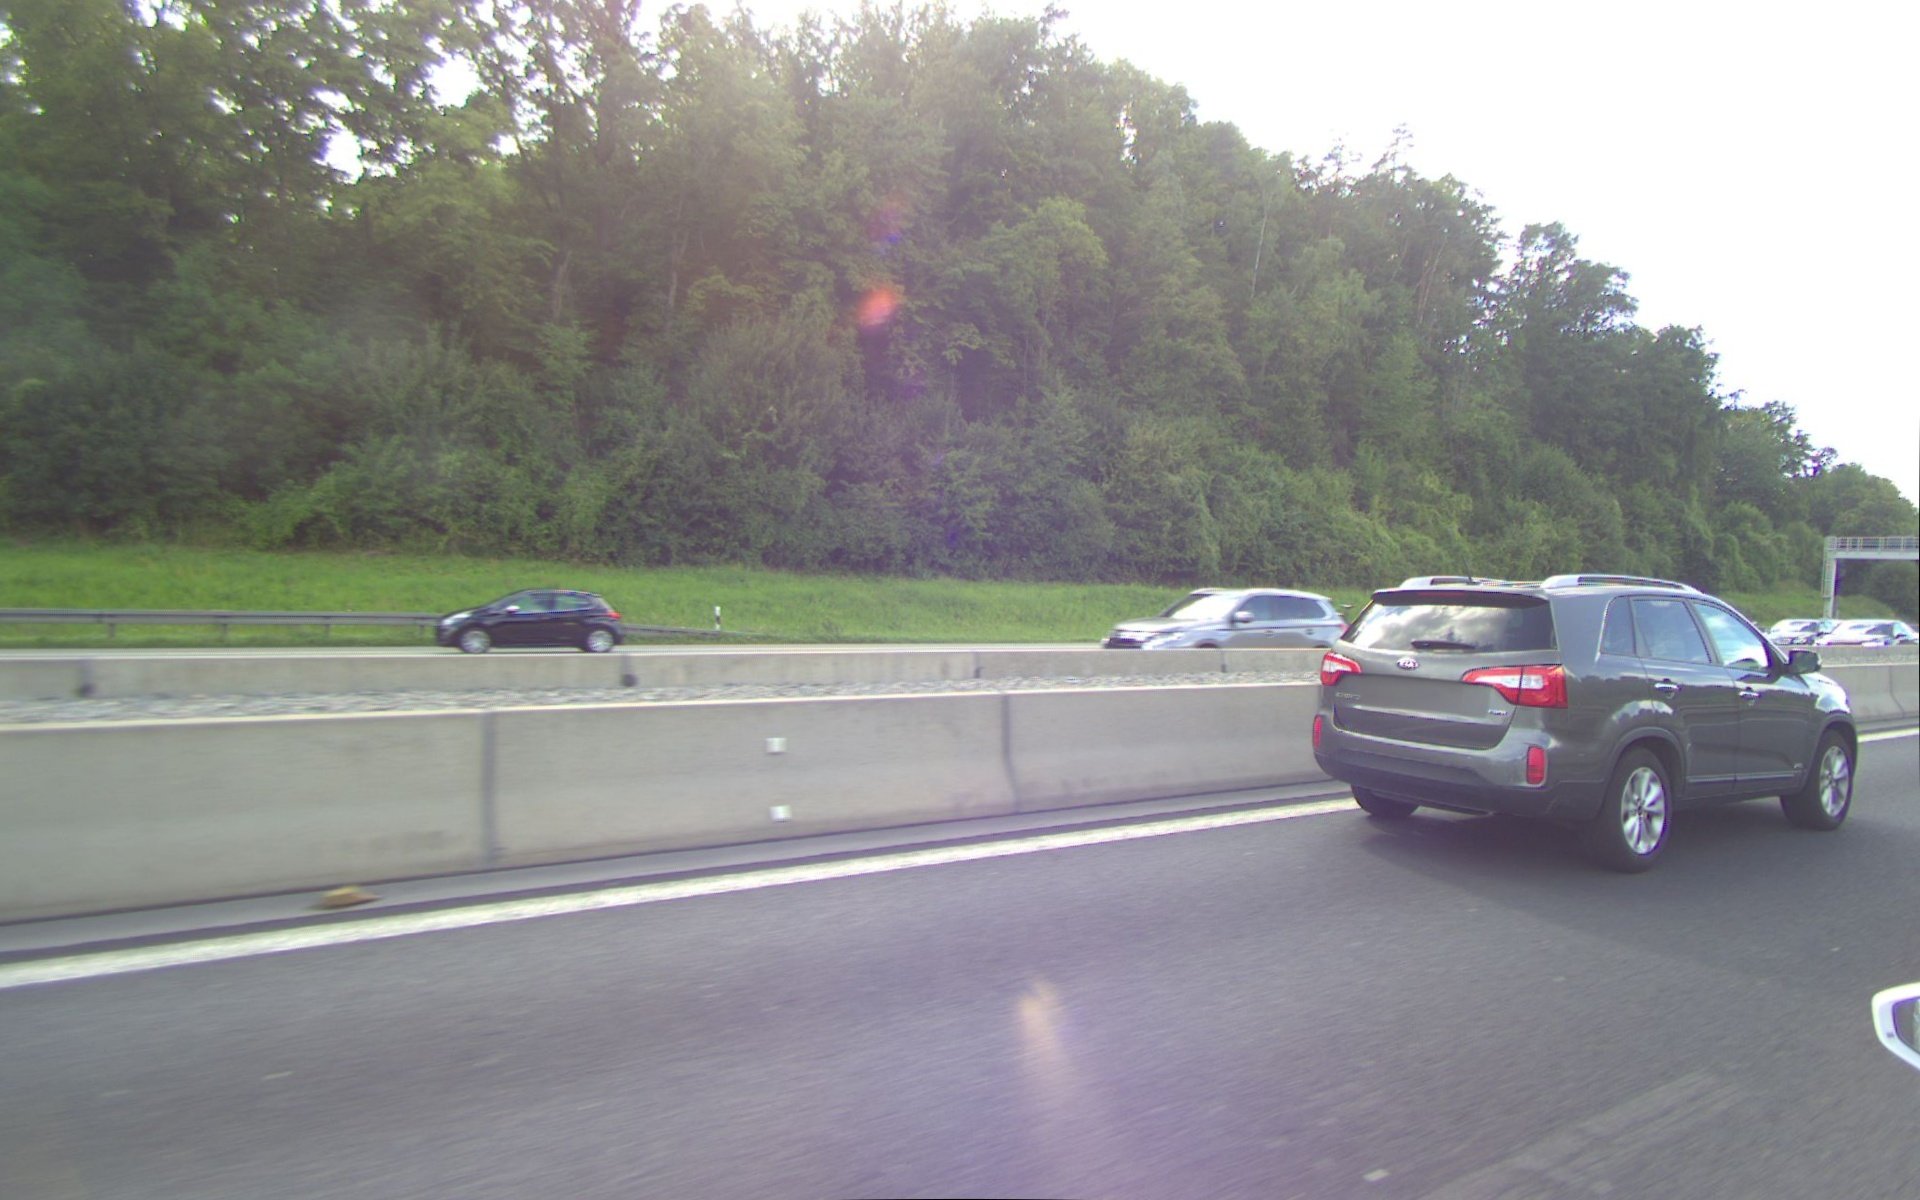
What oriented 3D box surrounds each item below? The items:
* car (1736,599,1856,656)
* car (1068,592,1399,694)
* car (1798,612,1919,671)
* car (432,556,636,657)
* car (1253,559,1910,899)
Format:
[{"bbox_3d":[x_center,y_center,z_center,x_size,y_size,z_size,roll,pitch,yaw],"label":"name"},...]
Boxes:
[{"bbox_3d":[31.850,1.050,38.247,4.722,2.040,1.984,2,0,-30],"label":"car"},{"bbox_3d":[4.867,0.706,17.523,5.889,1.530,1.973,1,0,-30],"label":"car"},{"bbox_3d":[28.226,1.285,31.112,4.722,1.648,1.984,2,0,-30],"label":"car"},{"bbox_3d":[-9.502,0.149,22.448,3.954,2.061,1.983,1,0,-31],"label":"car"},{"bbox_3d":[4.651,0.698,7.259,5.125,1.759,1.809,1,0,-30],"label":"car"}]
